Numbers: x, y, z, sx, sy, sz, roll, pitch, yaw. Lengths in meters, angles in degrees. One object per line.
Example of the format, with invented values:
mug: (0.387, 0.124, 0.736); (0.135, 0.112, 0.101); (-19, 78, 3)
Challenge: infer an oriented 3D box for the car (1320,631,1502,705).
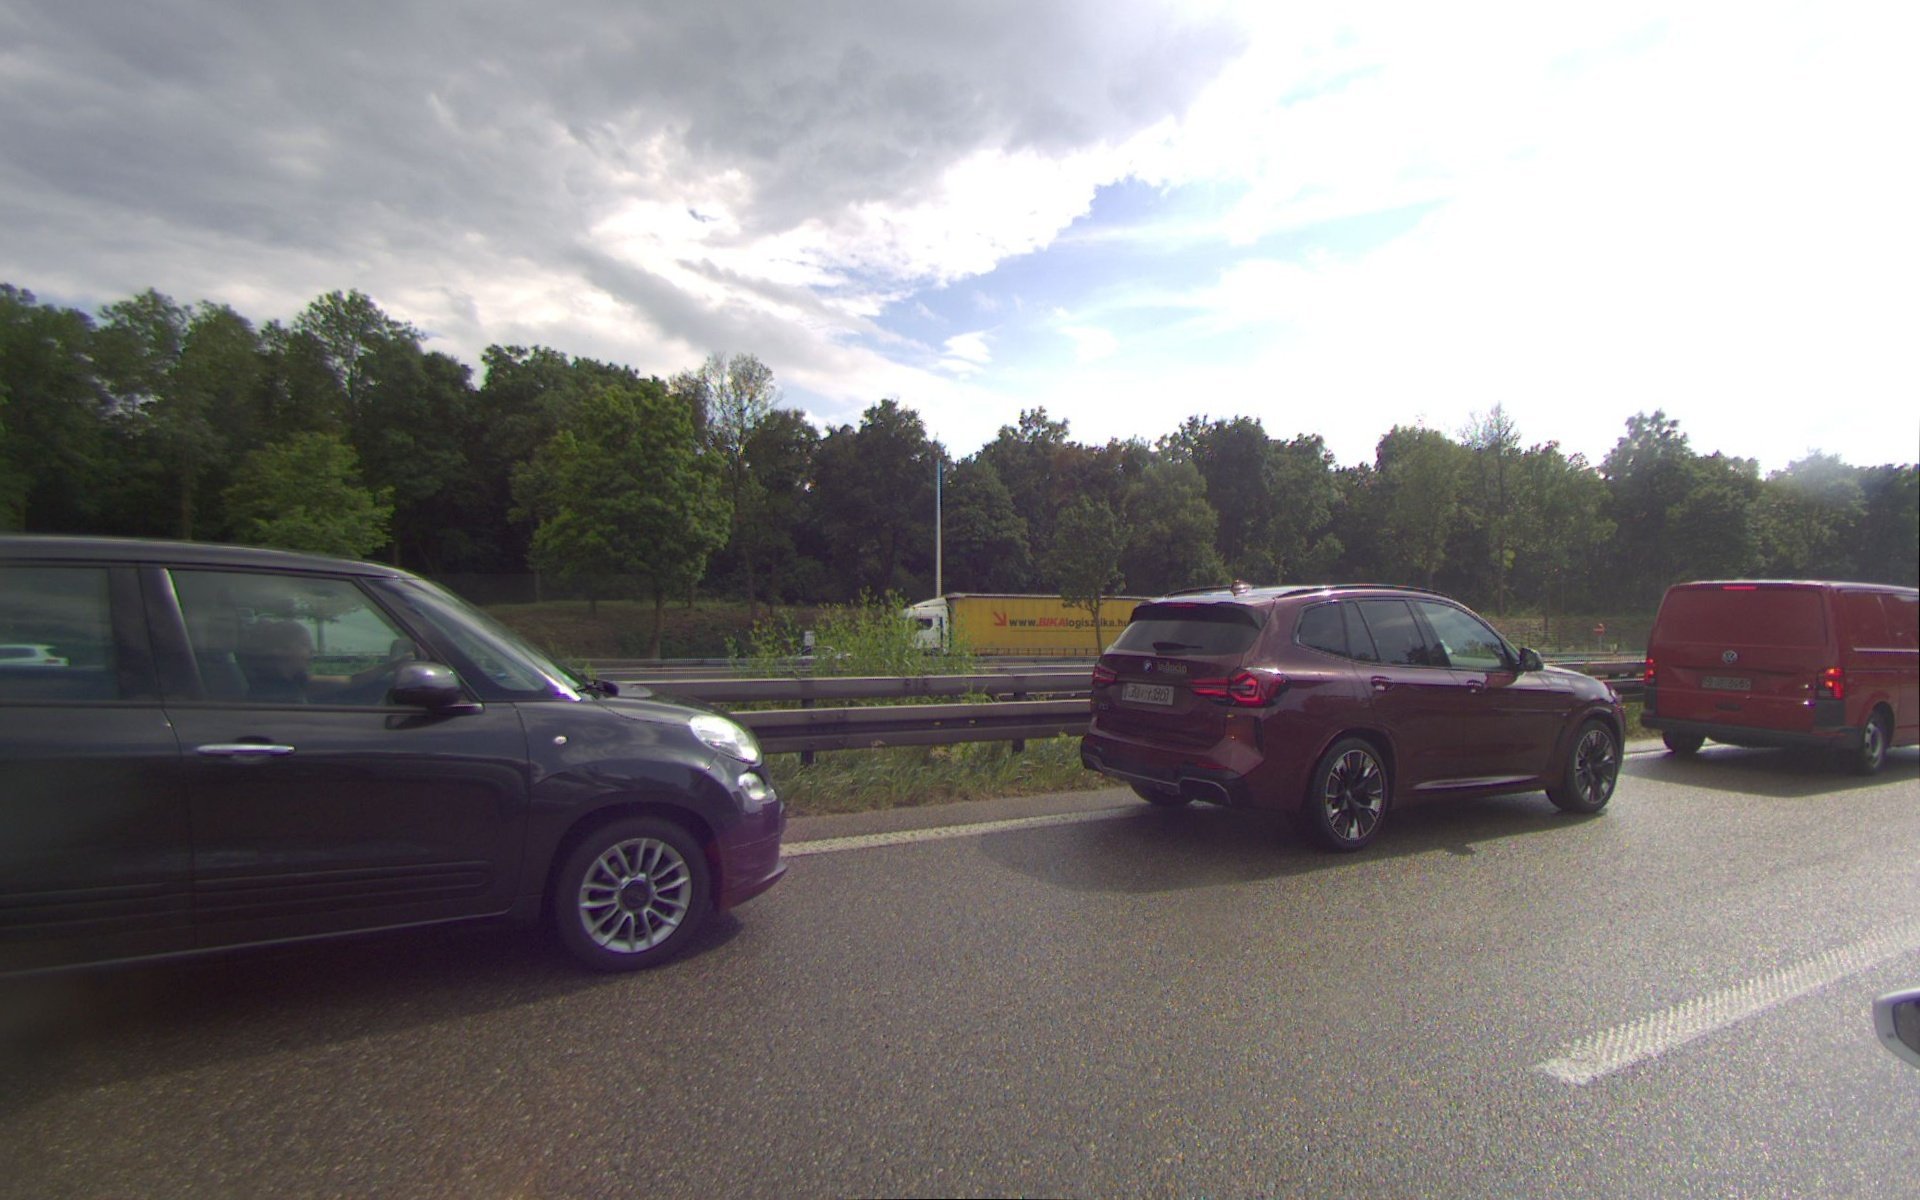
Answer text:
car: (12.546, 1.833, 27.875); (5.150, 1.799, 2.041); (2, 0, -31)

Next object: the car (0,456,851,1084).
car: (-2.595, 0.509, 4.034); (3.931, 1.829, 1.683); (2, 0, -32)

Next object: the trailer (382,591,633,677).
trailer: (-21.031, 1.600, 47.369); (10.349, 3.697, 3.780); (1, -1, -24)

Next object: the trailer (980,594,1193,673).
trailer: (7.231, 1.930, 57.435); (11.538, 4.171, 3.786); (2, 0, -17)

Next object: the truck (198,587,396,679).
truck: (-28.659, 1.410, 43.868); (6.615, 3.709, 3.776); (2, 0, -25)

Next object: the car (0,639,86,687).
car: (-37.692, 2.468, 39.723); (4.313, 1.741, 2.050); (2, 0, -28)

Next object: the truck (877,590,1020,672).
truck: (-0.687, 1.686, 54.964); (6.933, 4.171, 3.786); (2, 0, -17)

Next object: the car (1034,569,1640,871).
car: (2.957, 0.738, 7.549); (4.565, 1.658, 1.899); (2, -2, -32)

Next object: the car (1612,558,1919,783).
car: (9.695, 0.708, 11.353); (4.700, 2.082, 1.969); (2, 0, -30)
